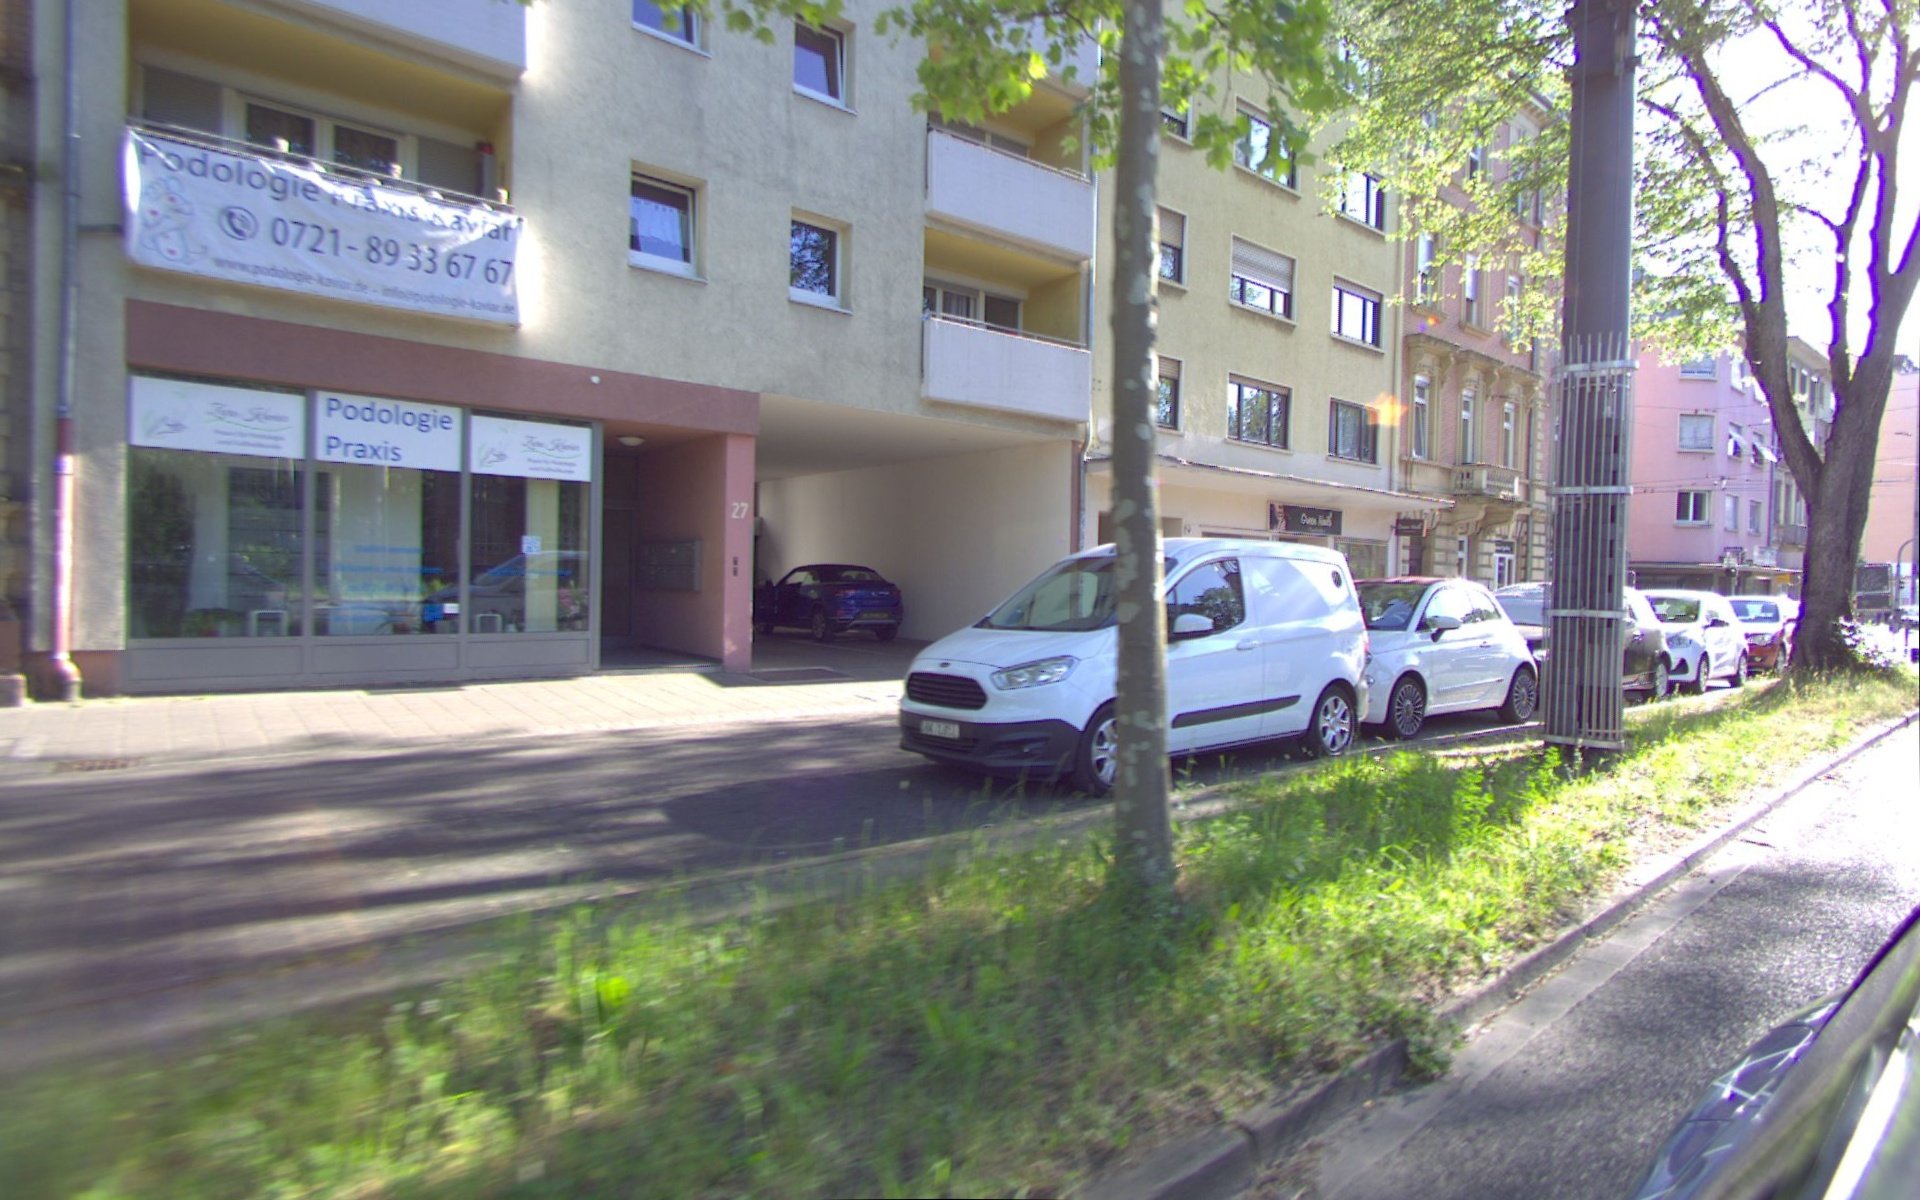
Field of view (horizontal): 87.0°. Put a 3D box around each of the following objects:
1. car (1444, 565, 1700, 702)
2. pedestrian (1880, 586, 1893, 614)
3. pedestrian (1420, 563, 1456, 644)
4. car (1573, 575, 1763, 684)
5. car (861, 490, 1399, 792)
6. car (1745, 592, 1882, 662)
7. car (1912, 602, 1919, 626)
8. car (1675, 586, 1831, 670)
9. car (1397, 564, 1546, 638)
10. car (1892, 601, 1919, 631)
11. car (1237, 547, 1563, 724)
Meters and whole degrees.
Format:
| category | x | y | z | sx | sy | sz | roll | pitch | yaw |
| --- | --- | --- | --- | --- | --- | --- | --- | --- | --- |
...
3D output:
| category | x | y | z | sx | sy | sz | roll | pitch | yaw |
| --- | --- | --- | --- | --- | --- | --- | --- | --- | --- |
| car | 7.843 | 0.390 | 12.865 | 3.717 | 1.504 | 1.565 | 1 | -1 | -38 |
| pedestrian | 59.563 | -0.005 | 65.064 | 0.648 | 1.784 | 0.495 | 0 | 1 | -40 |
| pedestrian | 12.258 | 0.104 | 25.947 | 0.836 | 2.039 | 0.513 | 1 | -1 | -36 |
| car | 11.035 | 0.423 | 15.694 | 3.633 | 1.496 | 1.628 | 1 | -1 | -42 |
| car | 1.427 | 0.253 | 7.556 | 4.065 | 1.689 | 1.630 | 1 | -1 | -37 |
| car | 19.365 | 0.588 | 22.916 | 4.095 | 1.439 | 1.700 | 1 | -1 | -40 |
| car | 59.760 | 0.855 | 60.413 | 3.933 | 1.469 | 1.812 | 0 | -1 | 9 |
| car | 15.287 | 0.506 | 19.444 | 3.835 | 1.453 | 1.592 | 1 | -1 | -40 |
| car | 11.676 | 0.024 | 23.004 | 3.931 | 1.498 | 1.696 | 1 | 2 | -42 |
| car | 53.146 | 0.921 | 56.020 | 3.929 | 1.537 | 1.739 | 1 | 3 | -40 |
| car | 4.516 | 0.322 | 10.239 | 3.426 | 1.499 | 1.516 | 1 | -1 | -36 |
